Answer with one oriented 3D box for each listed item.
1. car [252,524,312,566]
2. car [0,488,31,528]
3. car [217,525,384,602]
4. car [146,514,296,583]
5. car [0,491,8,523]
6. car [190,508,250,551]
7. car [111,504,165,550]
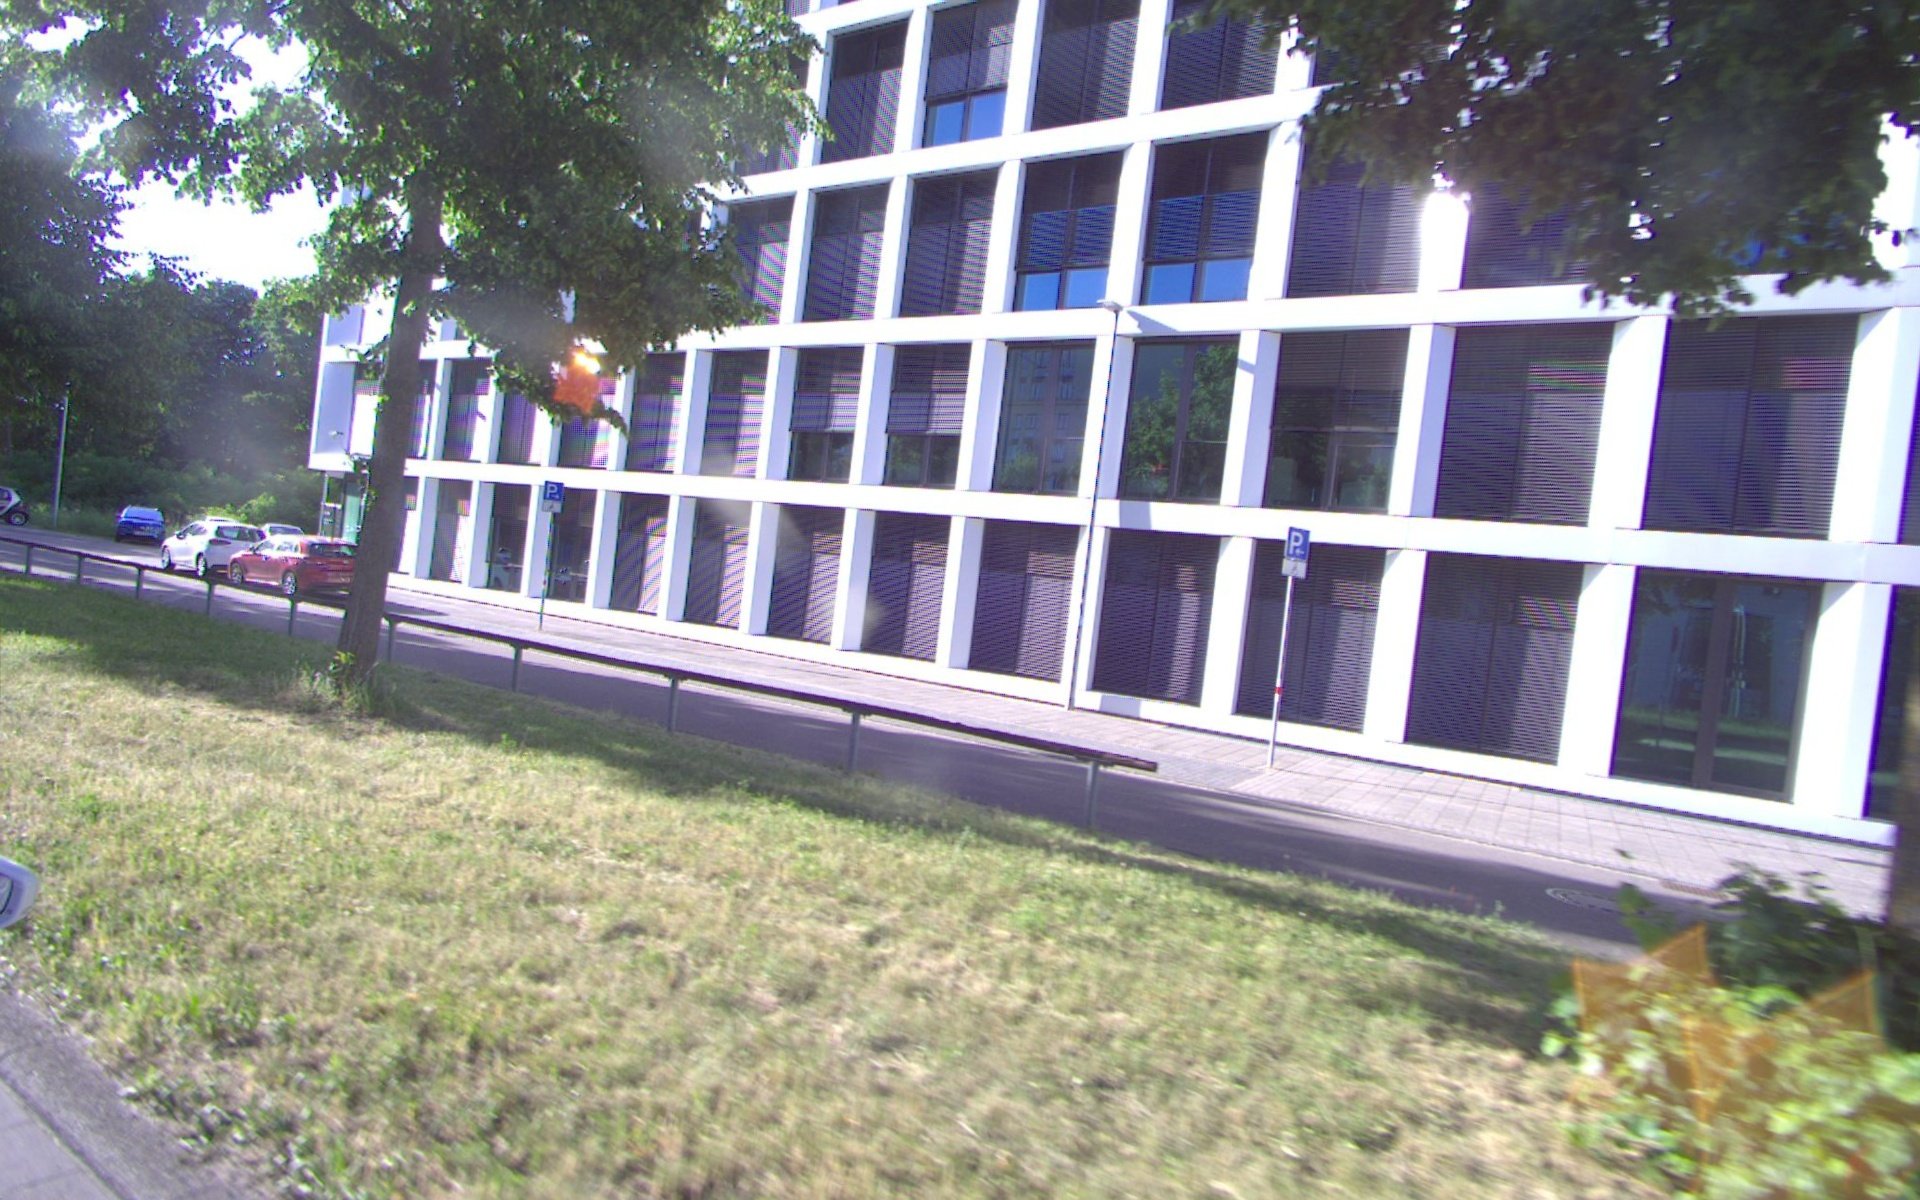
[{"bbox_3d":[-30.465,-2.486,45.190,1.711,1.558,3.908,9,-2,-40],"label":"car"},{"bbox_3d":[-41.511,-4.037,42.753,1.441,1.569,2.762,6,0,40],"label":"car"},{"bbox_3d":[-16.445,-0.912,25.045,4.202,1.506,1.865,6,2,32],"label":"car"},{"bbox_3d":[-20.496,-1.443,27.851,4.332,1.506,1.992,6,2,34],"label":"car"},{"bbox_3d":[-47.665,-4.629,47.144,1.687,1.486,4.082,6,1,32],"label":"car"},{"bbox_3d":[-32.286,-3.057,43.831,1.740,1.553,3.839,9,-2,-40],"label":"car"},{"bbox_3d":[-34.103,-3.075,41.798,1.585,1.566,3.777,6,2,-39],"label":"car"}]
